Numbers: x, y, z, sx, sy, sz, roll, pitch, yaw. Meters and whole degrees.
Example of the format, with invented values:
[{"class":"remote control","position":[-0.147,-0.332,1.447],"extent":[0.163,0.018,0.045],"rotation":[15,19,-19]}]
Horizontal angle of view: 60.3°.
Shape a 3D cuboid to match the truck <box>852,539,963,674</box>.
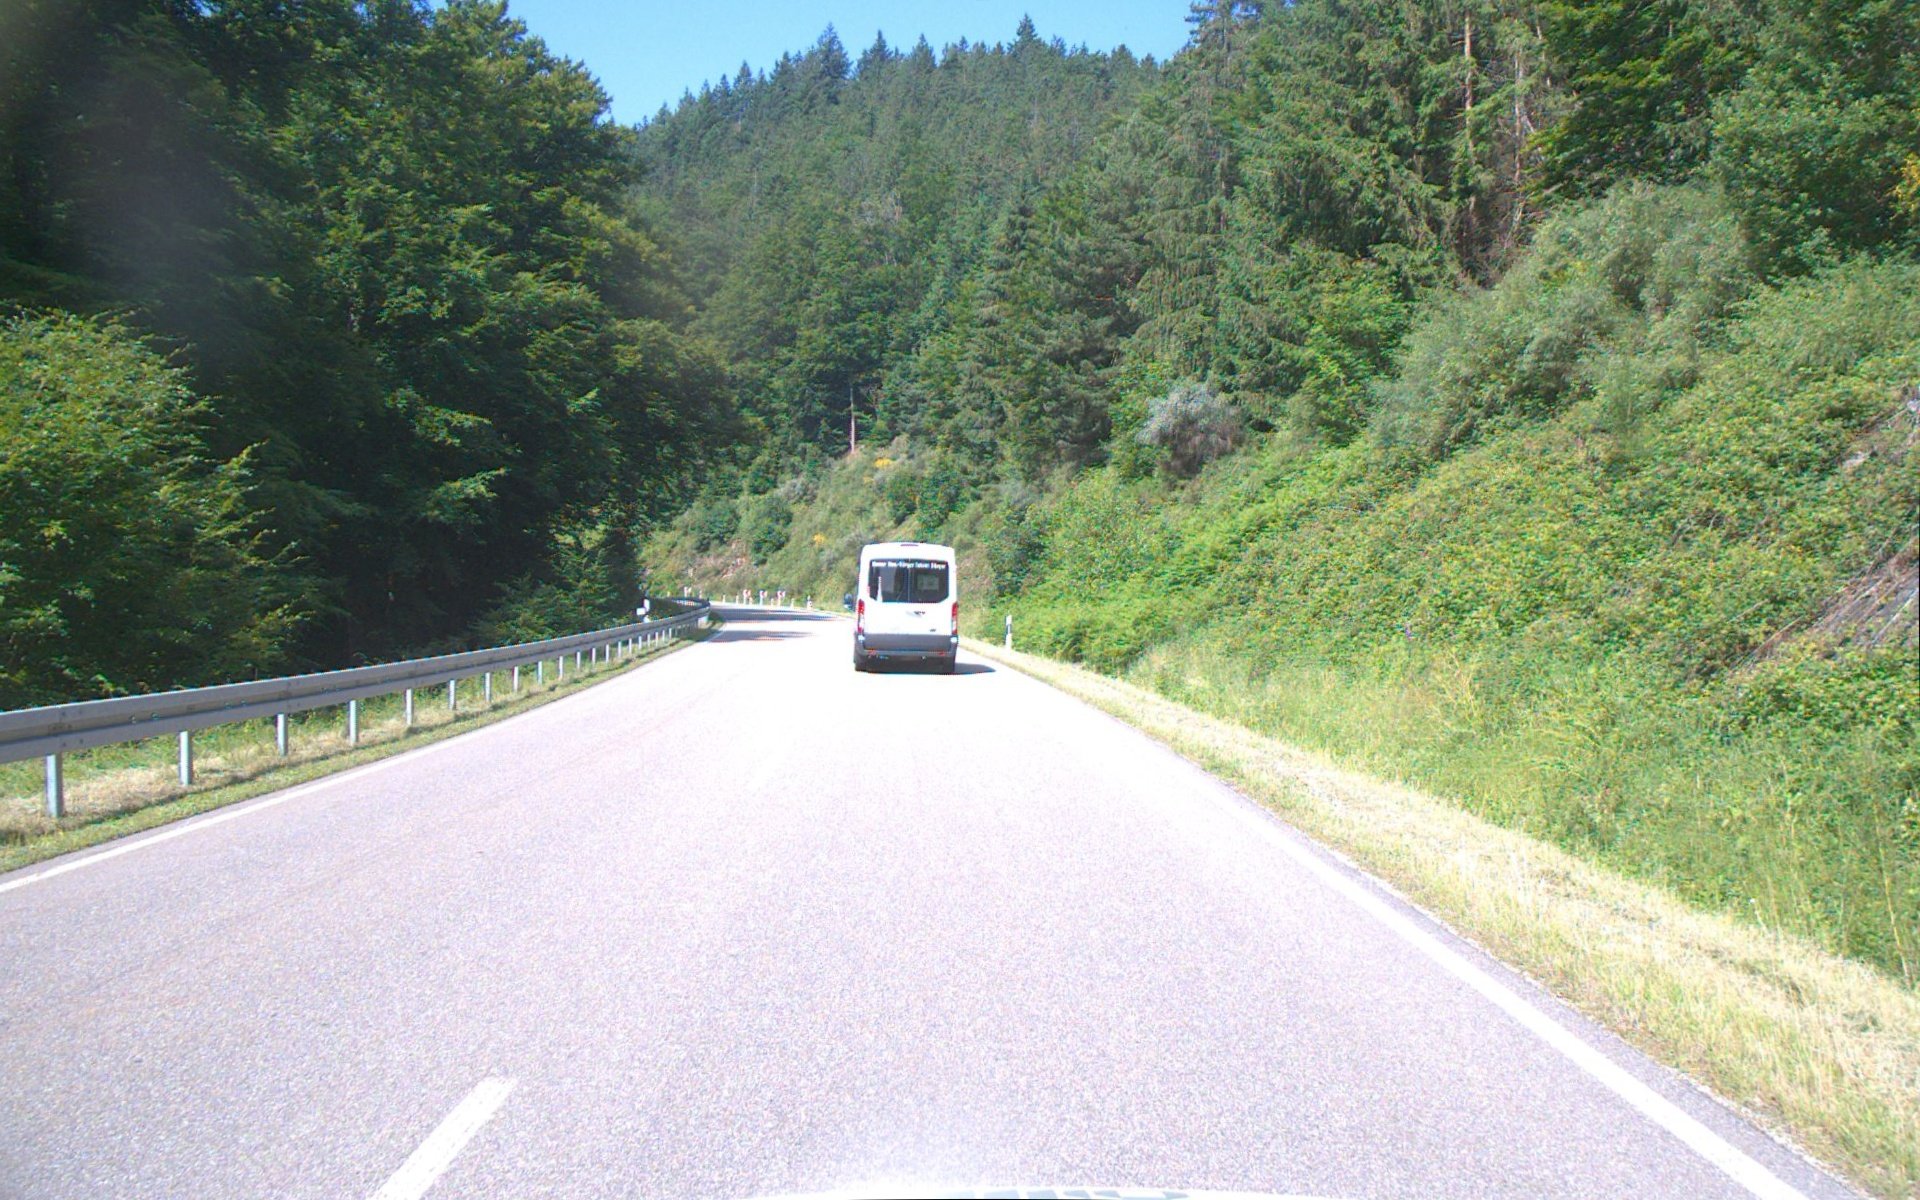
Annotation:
[{"class":"truck","position":[-1.143,0.118,33.633],"extent":[2.042,2.502,4.871],"rotation":[1,0,-4]}]
